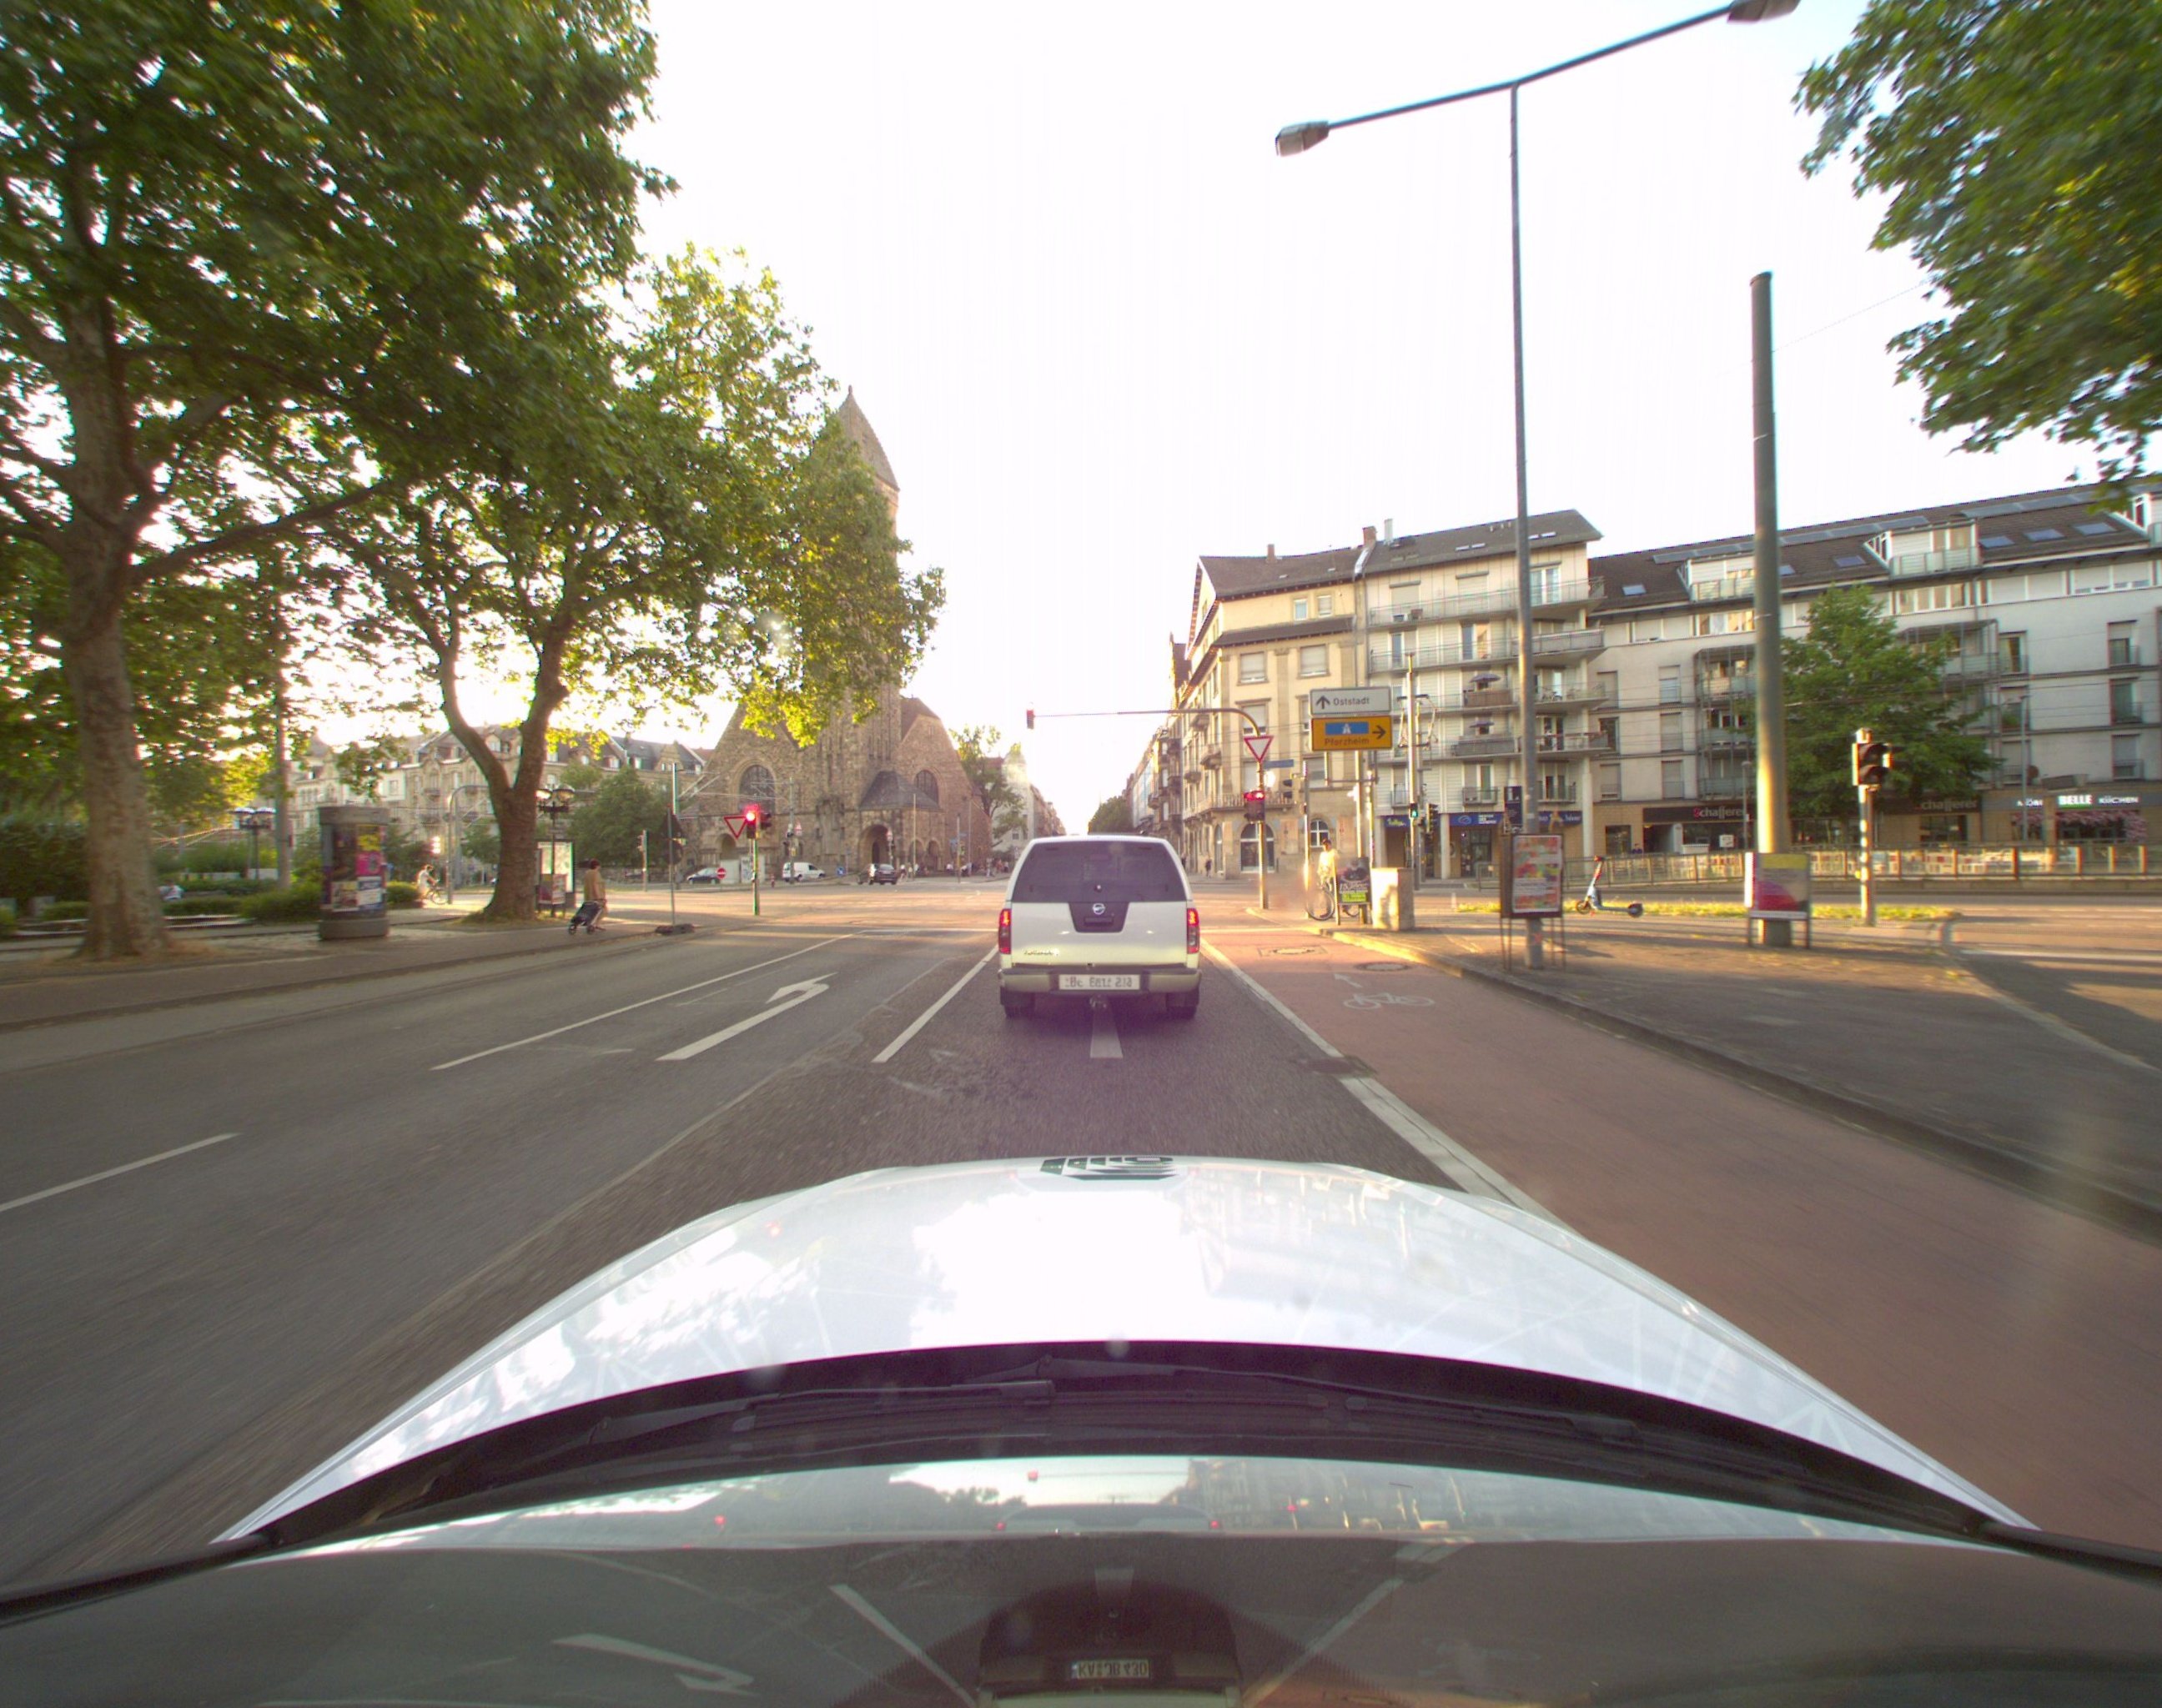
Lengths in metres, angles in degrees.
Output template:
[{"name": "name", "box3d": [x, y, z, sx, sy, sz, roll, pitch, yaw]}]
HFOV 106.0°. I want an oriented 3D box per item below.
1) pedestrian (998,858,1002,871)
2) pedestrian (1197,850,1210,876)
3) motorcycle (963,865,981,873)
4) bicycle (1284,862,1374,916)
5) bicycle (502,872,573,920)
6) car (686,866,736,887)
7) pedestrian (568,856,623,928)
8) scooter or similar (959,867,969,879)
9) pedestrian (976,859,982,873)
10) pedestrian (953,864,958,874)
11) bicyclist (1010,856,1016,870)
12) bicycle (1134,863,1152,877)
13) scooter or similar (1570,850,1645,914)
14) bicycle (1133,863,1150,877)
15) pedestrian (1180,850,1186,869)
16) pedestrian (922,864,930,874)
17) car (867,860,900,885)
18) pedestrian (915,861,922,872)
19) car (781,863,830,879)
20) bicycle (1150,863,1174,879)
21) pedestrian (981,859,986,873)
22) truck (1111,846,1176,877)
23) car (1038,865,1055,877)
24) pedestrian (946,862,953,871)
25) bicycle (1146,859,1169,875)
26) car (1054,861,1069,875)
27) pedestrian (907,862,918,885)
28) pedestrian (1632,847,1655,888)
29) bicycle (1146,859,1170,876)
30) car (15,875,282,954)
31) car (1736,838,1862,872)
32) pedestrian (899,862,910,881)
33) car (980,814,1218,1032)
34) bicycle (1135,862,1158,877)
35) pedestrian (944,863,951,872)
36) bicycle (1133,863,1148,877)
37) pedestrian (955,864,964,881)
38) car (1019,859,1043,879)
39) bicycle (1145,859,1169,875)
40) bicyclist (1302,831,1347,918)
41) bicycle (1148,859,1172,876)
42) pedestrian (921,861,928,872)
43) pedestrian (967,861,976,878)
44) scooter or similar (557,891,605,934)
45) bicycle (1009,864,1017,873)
[{"name": "pedestrian", "box3d": [-10.833, 1.451, 109.228, 0.559, 1.695, 0.643, 0, -1, -6]}, {"name": "pedestrian", "box3d": [8.645, 0.625, 57.312, 0.779, 1.779, 0.546, -1, -1, 27]}, {"name": "motorcycle", "box3d": [-13.149, 1.834, 98.614, 2.146, 0.988, 0.597, -1, -1, 21]}, {"name": "bicycle", "box3d": [5.397, 0.742, 17.672, 2.078, 1.109, 0.622, 0, -1, -31]}, {"name": "bicycle", "box3d": [-15.710, 1.185, 23.611, 0.522, 1.326, 1.998, 0, -1, 7]}, {"name": "car", "box3d": [-30.113, 1.822, 66.203, 3.948, 1.684, 2.013, -1, -1, 36]}, {"name": "pedestrian", "box3d": [-11.167, 0.868, 18.767, 0.800, 1.628, 0.773, 0, -1, -3]}, {"name": "scooter or similar", "box3d": [-11.543, 1.840, 80.340, 0.628, 1.103, 1.084, 1, 2, 18]}, {"name": "pedestrian", "box3d": [-12.557, 1.513, 100.215, 0.642, 1.695, 0.560, 0, -1, -7]}, {"name": "pedestrian", "box3d": [-12.768, 1.516, 82.955, 0.522, 0.960, 0.477, 0, -1, -14]}, {"name": "bicyclist", "box3d": [-8.067, 1.111, 96.648, 0.600, 1.645, 0.958, 0, -1, -16]}, {"name": "bicycle", "box3d": [5.023, 1.303, 66.419, 1.367, 1.024, 0.317, -4, -1, -1]}, {"name": "scooter or similar", "box3d": [10.733, 0.562, 16.616, 1.219, 1.249, 0.518, -1, -2, 41]}, {"name": "bicycle", "box3d": [4.992, 1.314, 66.967, 1.329, 1.024, 0.317, -4, -1, -1]}, {"name": "pedestrian", "box3d": [8.811, 0.482, 70.321, 0.525, 1.654, 0.547, 0, -1, 1]}, {"name": "pedestrian", "box3d": [-14.963, 1.482, 78.503, 0.473, 0.960, 0.526, -1, -1, 31]}, {"name": "car", "box3d": [-13.553, 1.302, 55.845, 1.998, 1.618, 3.977, 1, -3, -16]}, {"name": "pedestrian", "box3d": [-15.489, 1.194, 77.625, 0.517, 0.960, 0.482, -1, -1, 21]}, {"name": "car", "box3d": [-26.172, 1.582, 77.472, 1.698, 1.517, 4.481, -1, -1, 26]}, {"name": "bicycle", "box3d": [6.388, 1.326, 64.323, 1.812, 1.150, 0.636, -4, -1, -1]}, {"name": "pedestrian", "box3d": [-12.255, 1.506, 102.286, 0.640, 1.695, 0.562, 0, -1, 1]}, {"name": "truck", "box3d": [5.498, 0.620, 70.922, 5.704, 2.565, 2.260, 0, -1, -42]}, {"name": "car", "box3d": [-4.570, 2.199, 108.401, 1.987, 1.558, 4.768, 1, -1, 0]}, {"name": "pedestrian", "box3d": [-13.425, 1.275, 83.011, 0.517, 0.960, 0.481, -1, -1, 19]}, {"name": "bicycle", "box3d": [6.335, 1.085, 67.314, 1.812, 1.238, 0.410, -4, -1, -1]}, {"name": "car", "box3d": [-2.982, 2.162, 123.719, 1.987, 2.014, 4.950, -2, -1, 1]}, {"name": "pedestrian", "box3d": [-14.480, 1.673, 70.082, 0.809, 1.901, 0.666, 0, -1, -1]}, {"name": "pedestrian", "box3d": [30.984, 0.738, 44.864, 0.860, 2.209, 0.825, -1, -1, 21]}, {"name": "bicycle", "box3d": [6.264, 1.111, 65.983, 1.812, 1.238, 0.477, -4, -1, -1]}, {"name": "car", "box3d": [-26.678, 1.644, 23.541, 1.975, 1.781, 4.669, -2, 1, 27]}, {"name": "car", "box3d": [32.815, 0.083, 37.365, 3.952, 1.486, 1.859, -1, -1, 21]}, {"name": "pedestrian", "box3d": [-15.206, 1.519, 70.154, 0.809, 1.669, 0.859, 0, -1, 0]}, {"name": "car", "box3d": [0.215, 0.604, 8.803, 1.986, 1.809, 4.001, 0, -1, 2]}, {"name": "bicycle", "box3d": [5.200, 1.247, 64.819, 1.721, 1.083, 0.317, -4, -1, -1]}, {"name": "pedestrian", "box3d": [-14.972, 1.516, 91.337, 0.547, 0.960, 0.713, -1, -1, 22]}, {"name": "bicycle", "box3d": [4.808, 1.308, 65.712, 1.073, 1.024, 0.317, -4, -1, -1]}, {"name": "pedestrian", "box3d": [-12.147, 1.878, 81.359, 0.628, 1.698, 0.606, 0, 1, 21]}, {"name": "car", "box3d": [-4.650, 1.373, 76.519, 1.987, 1.784, 4.797, 0, 1, 0]}, {"name": "bicycle", "box3d": [6.310, 1.096, 67.846, 1.849, 1.238, 0.530, -4, -1, -1]}, {"name": "bicyclist", "box3d": [5.264, 0.443, 17.598, 0.701, 1.824, 0.622, 1, -1, -31]}, {"name": "bicycle", "box3d": [6.349, 1.075, 65.273, 1.812, 1.238, 0.488, -4, -1, -1]}, {"name": "pedestrian", "box3d": [-14.877, 1.187, 77.335, 0.517, 0.960, 0.482, -1, -1, 21]}, {"name": "pedestrian", "box3d": [-10.909, 1.562, 81.150, 0.629, 1.698, 0.605, 0, -1, 12]}, {"name": "scooter or similar", "box3d": [-10.963, 1.268, 17.871, 0.591, 0.898, 0.849, 0, -1, -9]}, {"name": "bicycle", "box3d": [-8.056, 1.711, 96.604, 0.600, 1.043, 1.935, 0, -1, -16]}]
